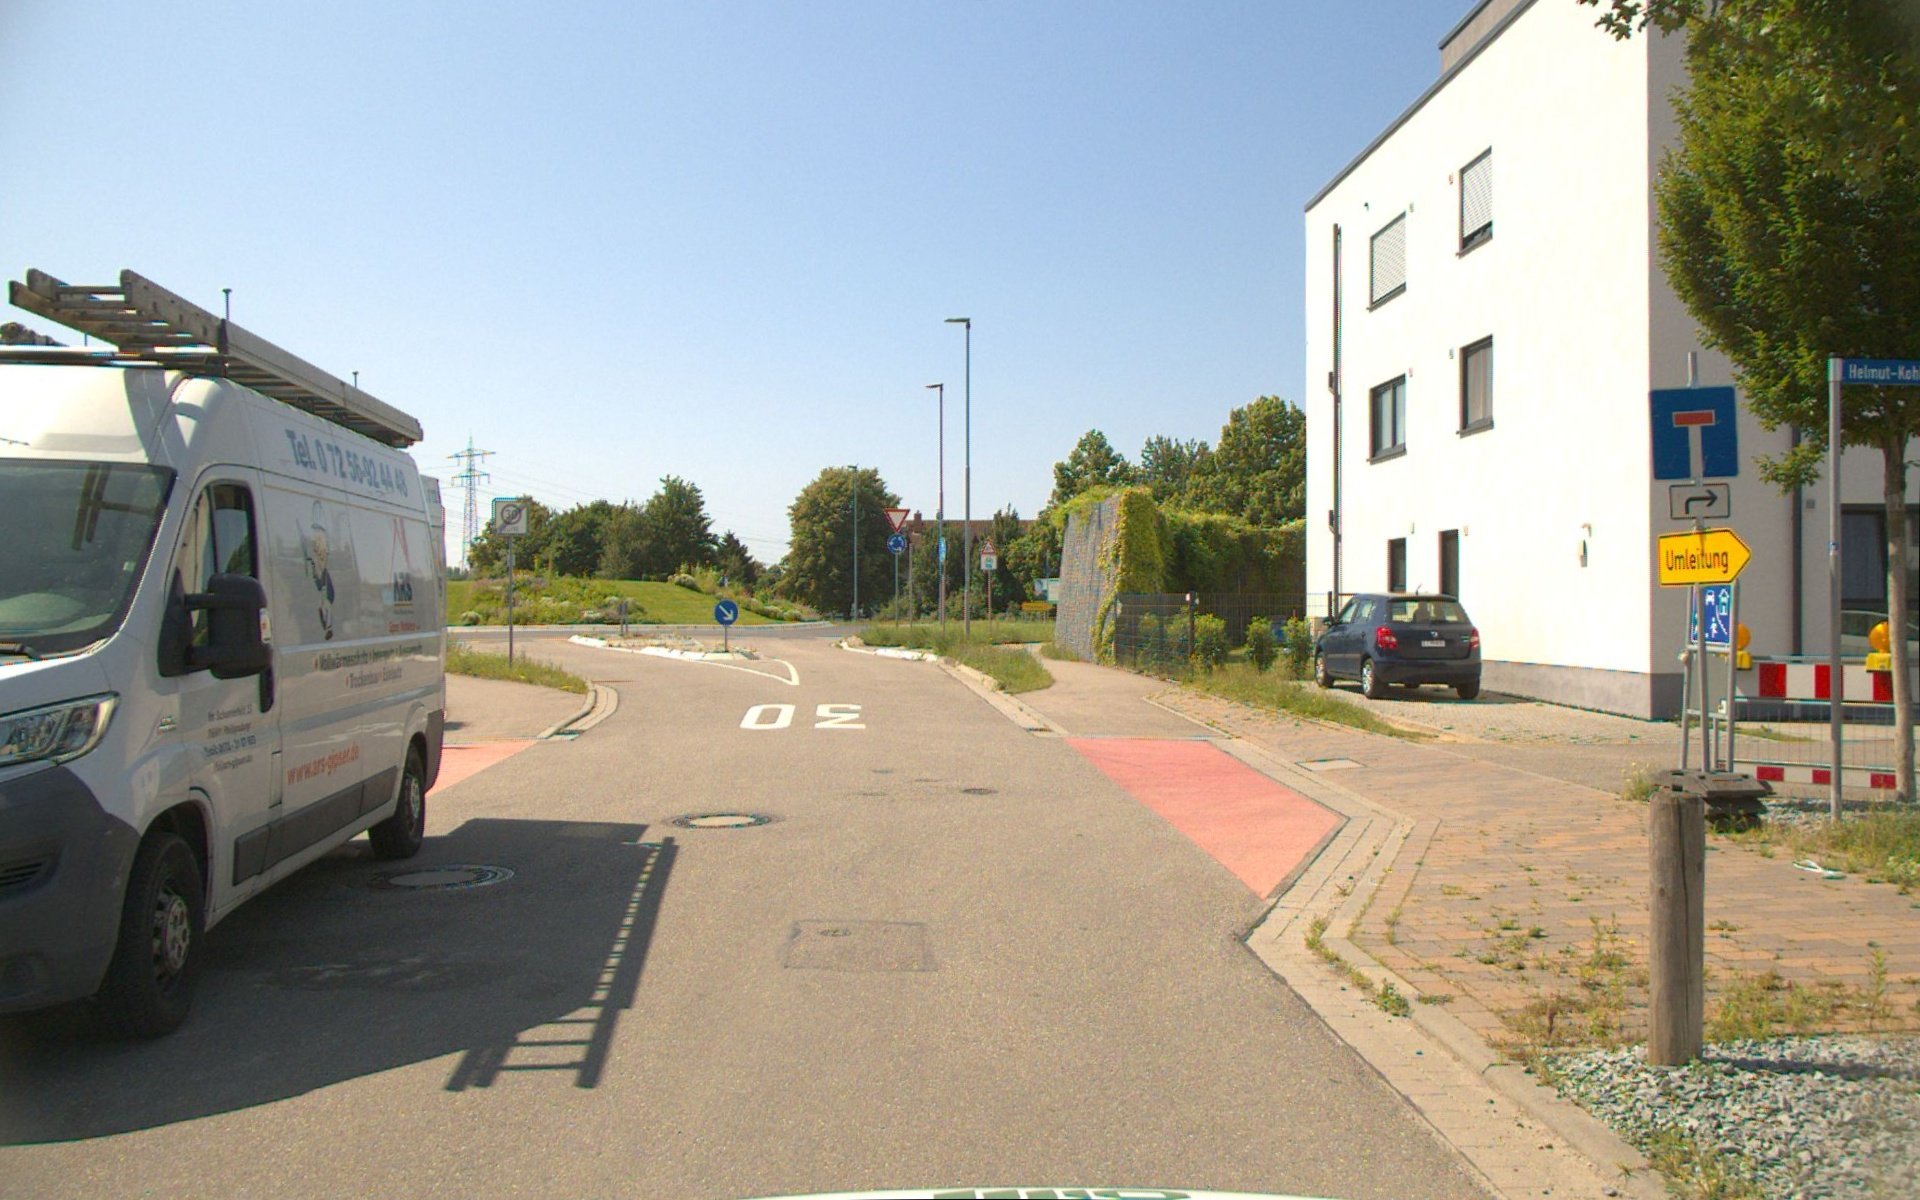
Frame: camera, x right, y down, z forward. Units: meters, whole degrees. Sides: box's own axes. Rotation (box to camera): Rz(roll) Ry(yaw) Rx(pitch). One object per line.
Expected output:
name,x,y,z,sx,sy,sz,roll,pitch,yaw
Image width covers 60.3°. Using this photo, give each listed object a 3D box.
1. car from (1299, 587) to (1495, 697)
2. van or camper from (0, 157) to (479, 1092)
car,6.522,0.575,25.116,1.644,1.495,4.113,1,1,-4
van or camper,-3.904,0.098,7.633,2.229,2.598,6.357,0,-1,-7
